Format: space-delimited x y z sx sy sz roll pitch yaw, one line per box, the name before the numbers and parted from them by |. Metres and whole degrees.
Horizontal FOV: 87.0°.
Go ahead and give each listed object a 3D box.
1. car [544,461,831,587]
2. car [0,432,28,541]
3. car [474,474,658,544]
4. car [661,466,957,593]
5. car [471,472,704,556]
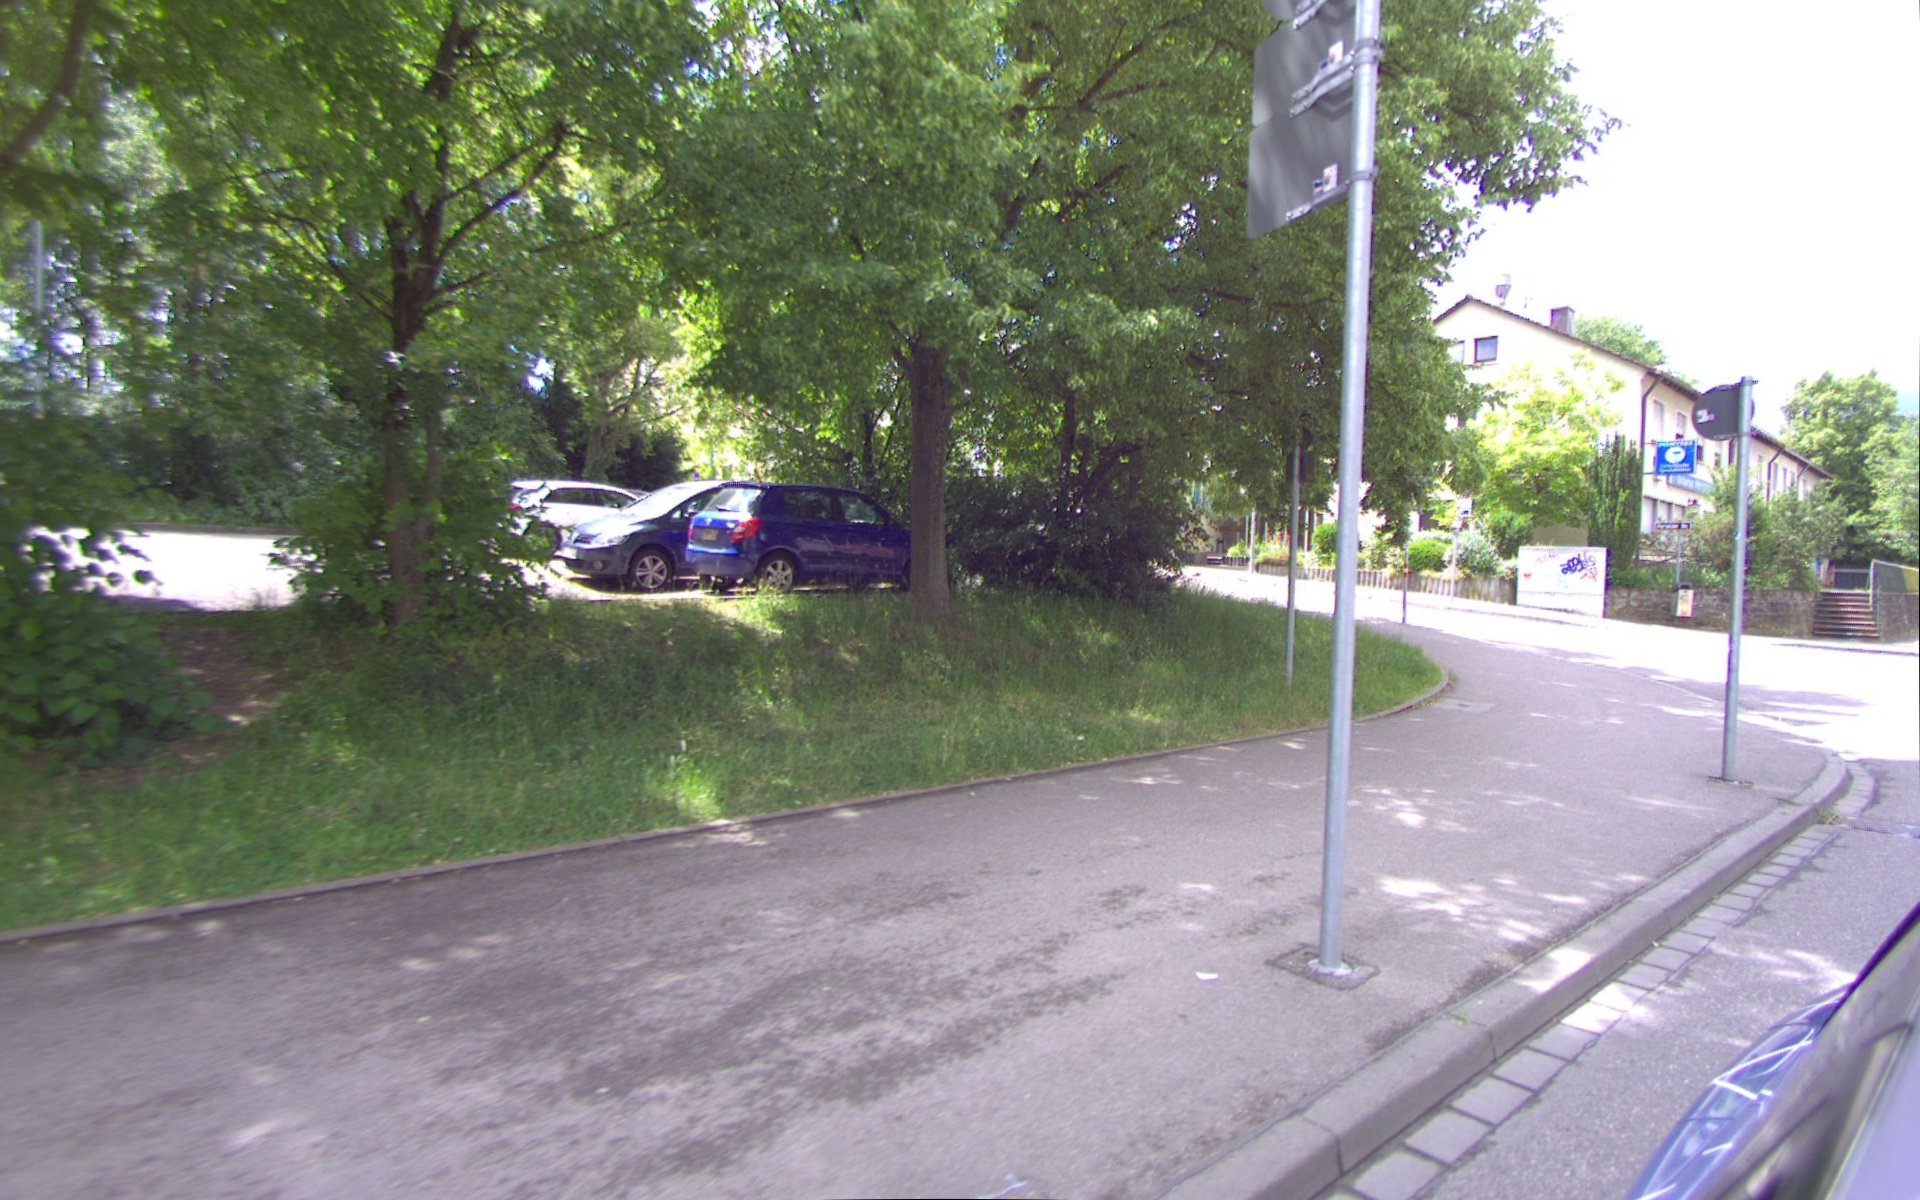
car | -4.032 -1.145 15.308 3.841 1.653 1.682 -3 8 -43
car | -14.728 -1.597 13.189 3.795 1.459 1.757 -1 5 -43
car | -9.738 -2.236 25.169 3.914 1.486 1.640 0 5 -42
car | -2.030 -0.973 14.170 3.751 1.529 1.826 -3 5 -43
car | -7.047 -1.646 19.351 3.859 1.436 1.620 -3 7 -41
